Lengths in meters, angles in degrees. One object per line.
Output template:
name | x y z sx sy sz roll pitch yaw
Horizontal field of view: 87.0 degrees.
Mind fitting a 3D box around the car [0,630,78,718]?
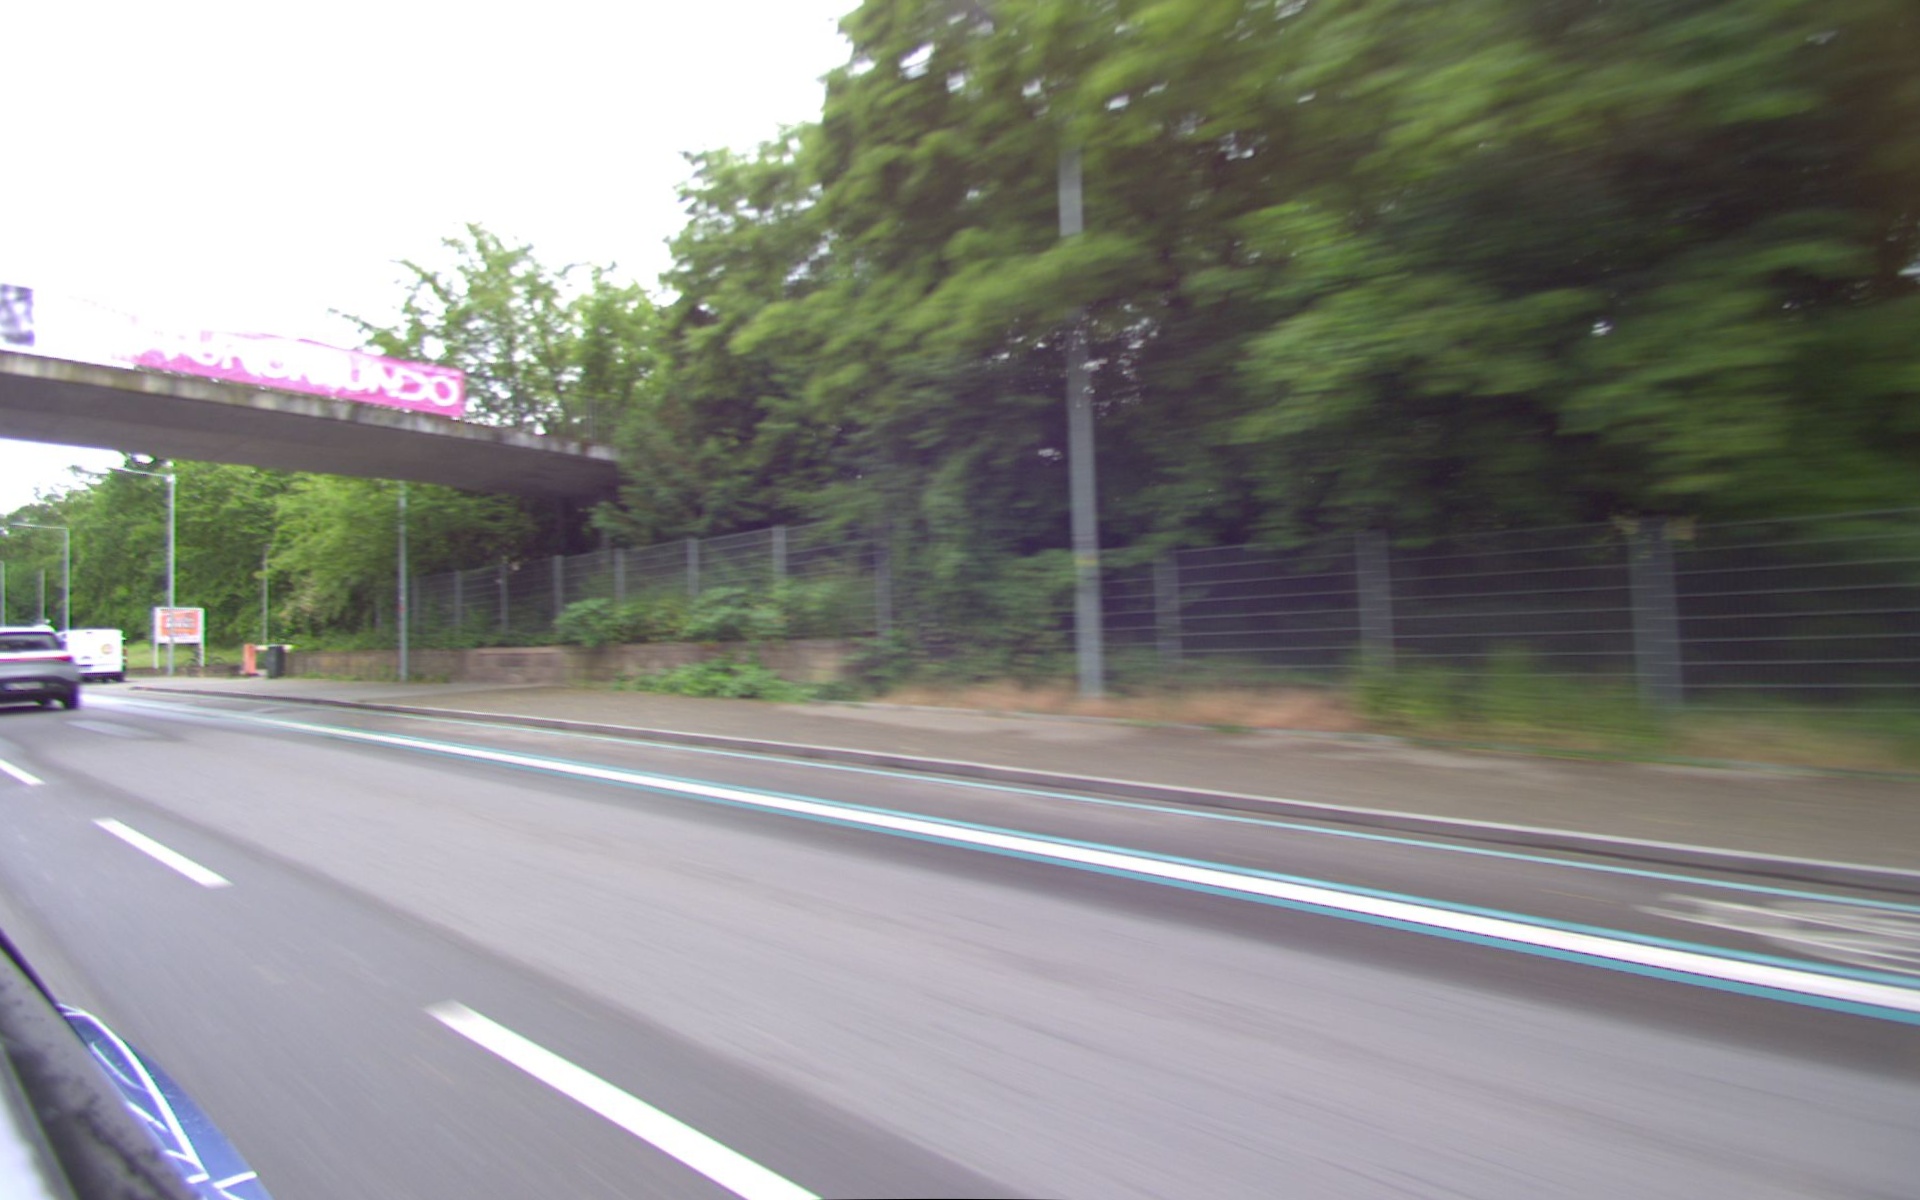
car | -19.052 1.416 20.084 4.100 1.588 1.778 -2 -1 41

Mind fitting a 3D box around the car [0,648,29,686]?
car | -50.844 3.575 53.355 4.840 1.928 1.973 -5 -4 40

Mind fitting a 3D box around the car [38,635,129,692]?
car | -32.510 2.376 37.490 5.225 1.929 1.957 -5 -4 42
